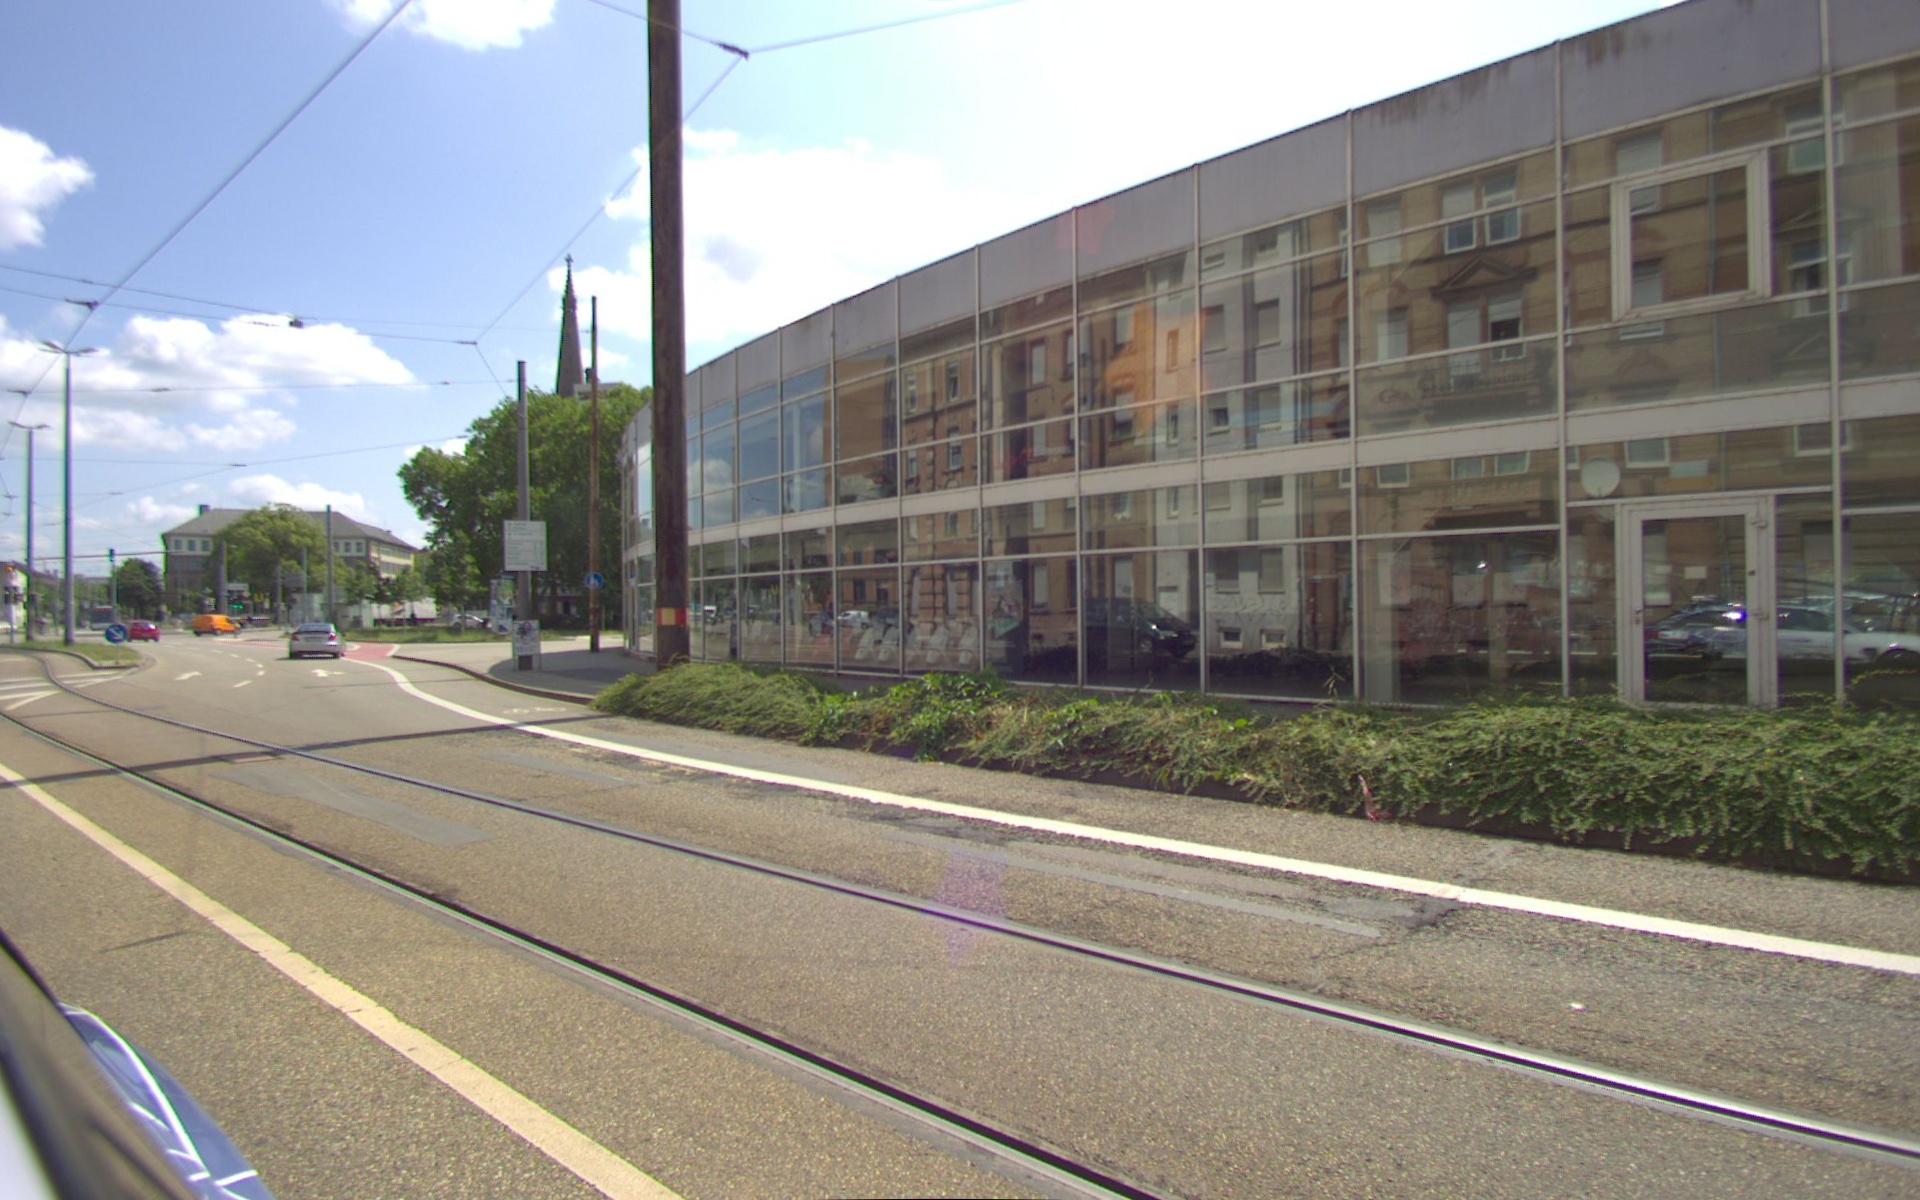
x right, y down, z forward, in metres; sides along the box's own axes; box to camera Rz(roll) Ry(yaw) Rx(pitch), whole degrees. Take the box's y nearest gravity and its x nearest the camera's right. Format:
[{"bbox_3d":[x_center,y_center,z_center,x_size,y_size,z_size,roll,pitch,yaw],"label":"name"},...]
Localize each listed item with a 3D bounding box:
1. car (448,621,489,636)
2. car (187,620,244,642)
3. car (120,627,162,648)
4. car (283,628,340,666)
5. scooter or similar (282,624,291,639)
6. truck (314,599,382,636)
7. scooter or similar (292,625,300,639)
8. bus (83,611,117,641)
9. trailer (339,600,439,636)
[{"bbox_3d":[-56.283,3.303,115.851,4.102,1.655,1.634,0,-2,-32],"label":"car"},{"bbox_3d":[-64.610,2.723,87.909,1.888,1.880,4.371,0,-2,-4],"label":"car"},{"bbox_3d":[-56.428,2.575,69.673,3.901,1.439,1.683,-2,-3,43],"label":"car"},{"bbox_3d":[-25.813,1.848,40.369,1.789,1.431,4.199,2,-2,-32],"label":"car"},{"bbox_3d":[-54.186,2.564,81.401,0.549,1.209,0.456,-2,-2,39],"label":"scooter or similar"},{"bbox_3d":[-69.700,1.995,115.374,2.931,4.150,6.858,-1,-1,9],"label":"truck"},{"bbox_3d":[-53.800,2.627,81.993,0.556,1.133,0.411,-2,-2,39],"label":"scooter or similar"},{"bbox_3d":[-104.899,3.169,123.505,2.905,3.474,7.962,0,-2,-38],"label":"bus"},{"bbox_3d":[-68.614,2.165,122.140,2.916,4.107,13.380,-1,-1,9],"label":"trailer"}]
